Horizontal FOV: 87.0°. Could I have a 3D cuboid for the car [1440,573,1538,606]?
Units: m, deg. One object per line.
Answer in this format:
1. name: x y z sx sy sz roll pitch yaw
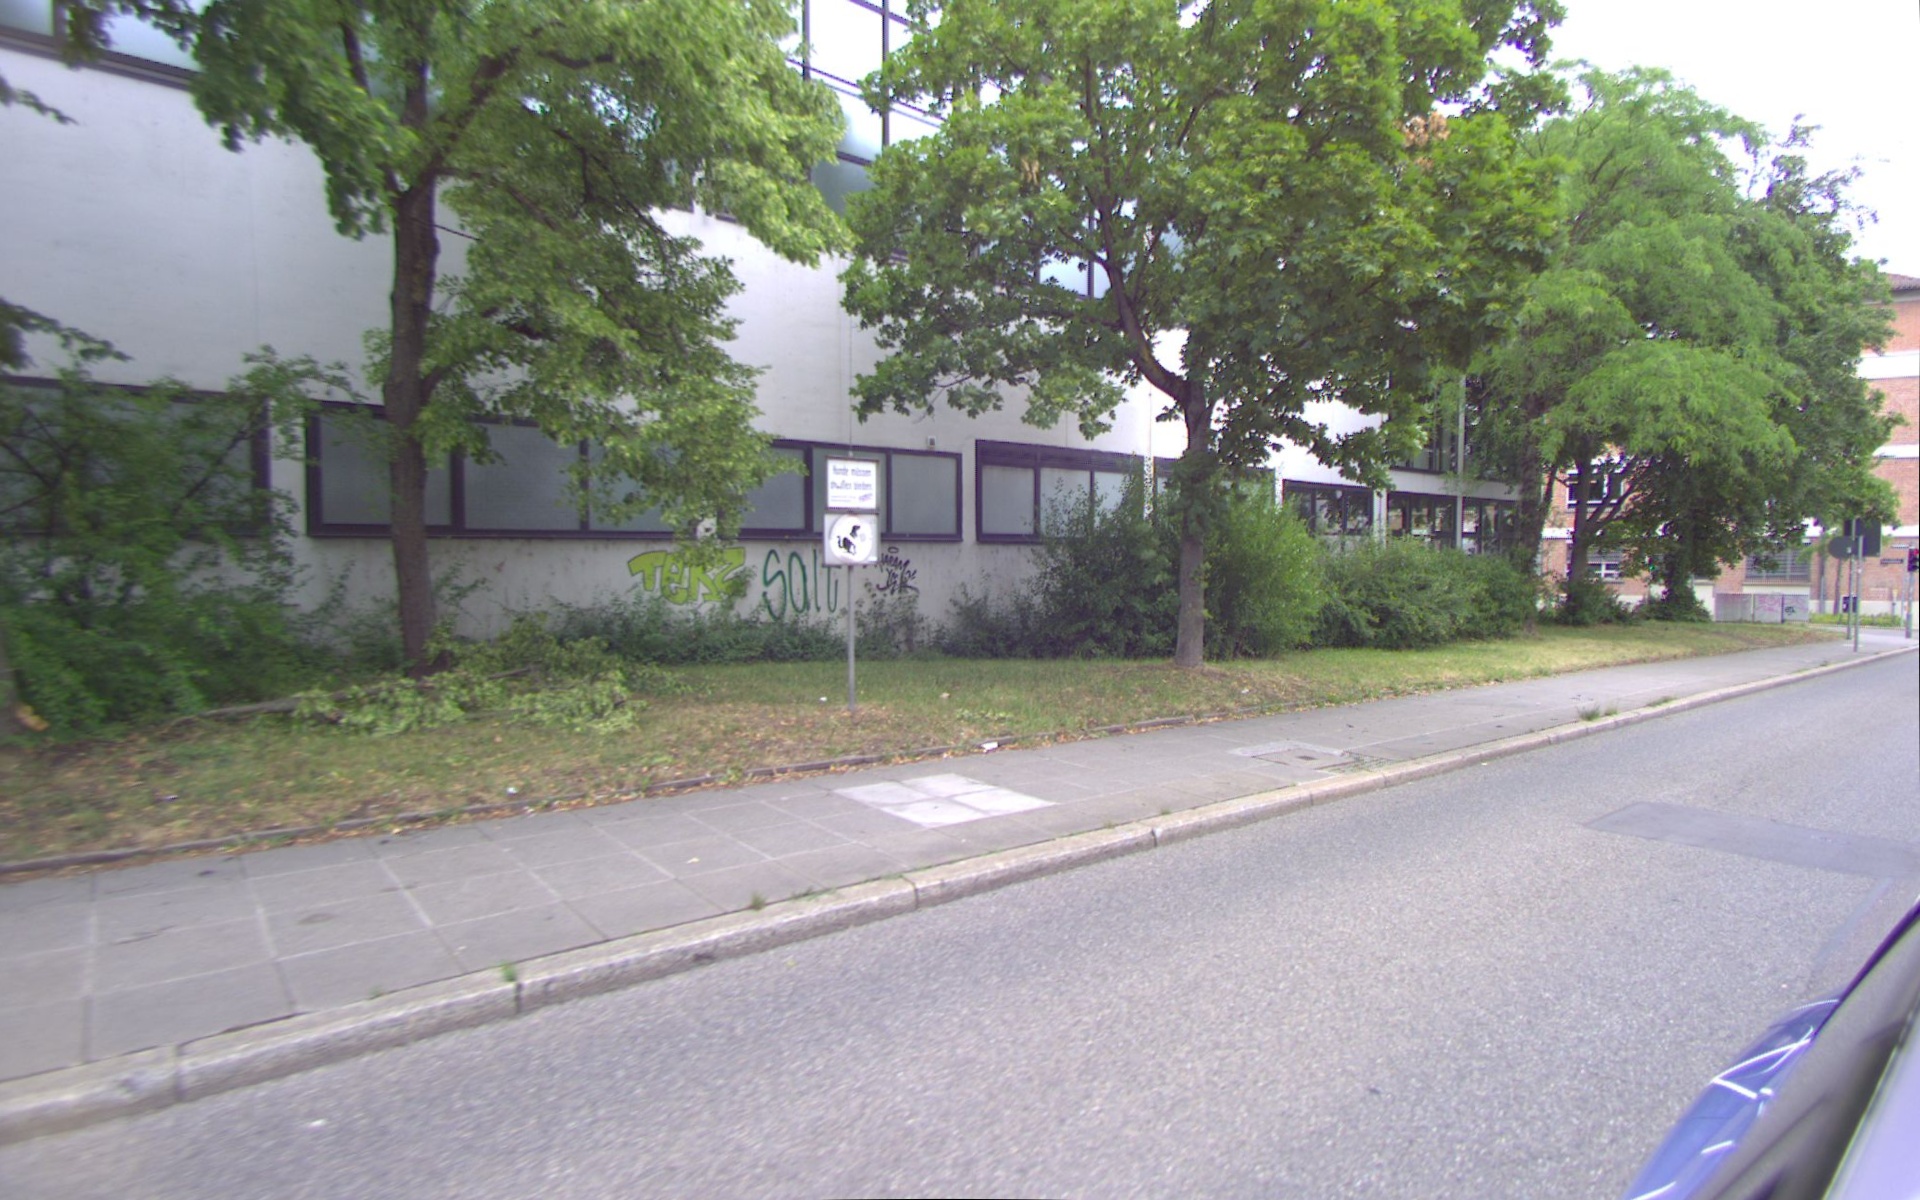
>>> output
1. car: 27.244 -0.539 52.243 4.380 1.423 1.755 3 -1 28
